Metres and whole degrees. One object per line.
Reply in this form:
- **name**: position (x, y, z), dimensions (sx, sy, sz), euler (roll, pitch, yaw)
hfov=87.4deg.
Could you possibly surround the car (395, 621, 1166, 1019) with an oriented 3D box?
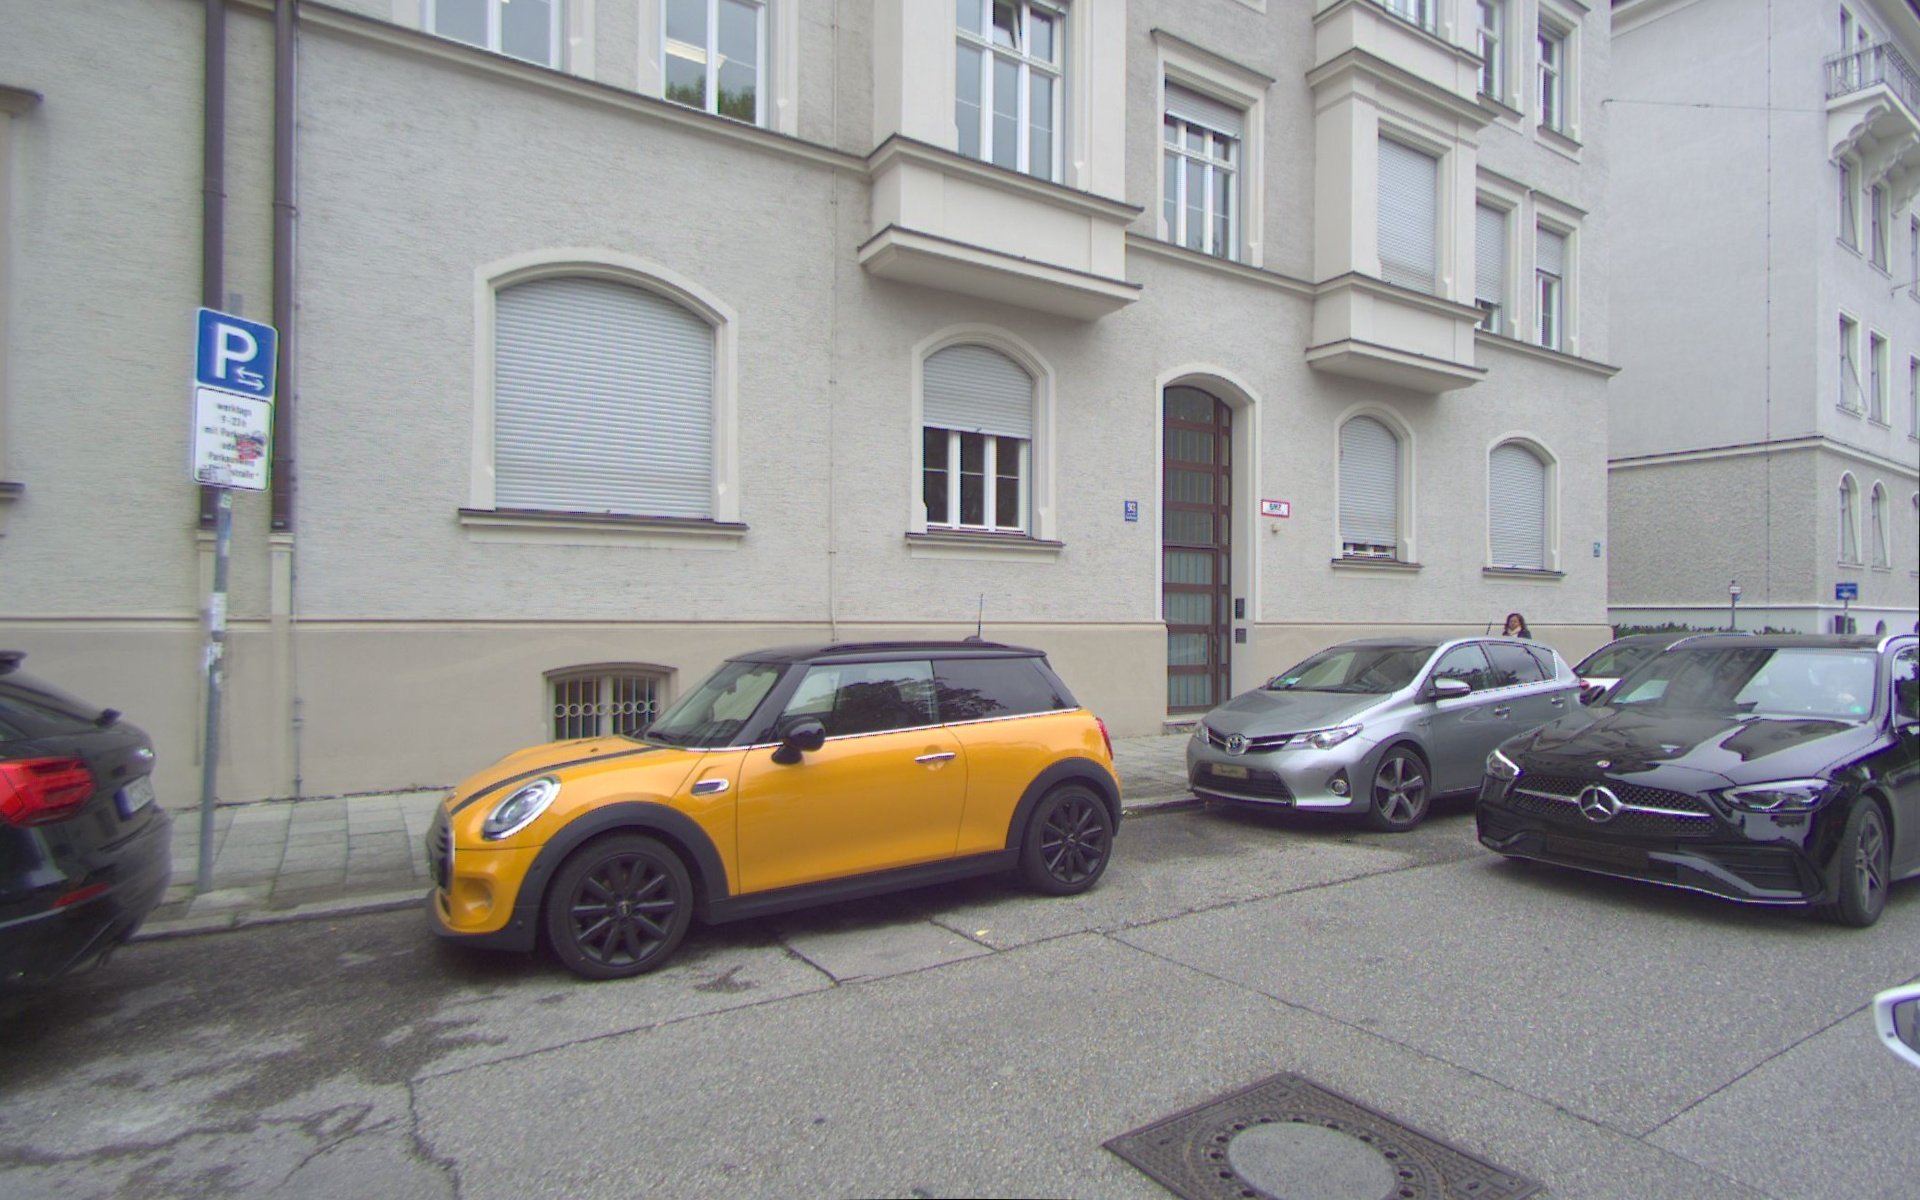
- **car**: position (-0.895, 0.917, 5.617), dimensions (3.925, 1.519, 1.633), euler (1, -3, -31)

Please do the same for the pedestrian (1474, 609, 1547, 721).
- **pedestrian**: position (8.684, 1.004, 15.861), dimensions (0.693, 1.701, 0.787), euler (1, -1, -35)

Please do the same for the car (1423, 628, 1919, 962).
- **car**: position (5.120, 0.919, 6.408), dimensions (4.360, 1.447, 1.864), euler (1, -2, -32)

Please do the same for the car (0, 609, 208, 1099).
- **car**: position (-4.856, 0.801, 3.007), dimensions (3.973, 1.519, 1.744), euler (1, -3, -32)

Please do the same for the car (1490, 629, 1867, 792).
- **car**: position (7.931, 1.085, 11.018), dimensions (4.226, 1.456, 1.827), euler (1, -3, -32)

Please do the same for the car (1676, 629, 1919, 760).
- **car**: position (11.825, 1.197, 13.784), dimensions (4.229, 1.519, 1.826), euler (1, -4, -33)

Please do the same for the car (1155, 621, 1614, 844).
- **car**: position (3.713, 0.979, 8.647), dimensions (3.886, 1.519, 1.717), euler (1, -3, -31)
